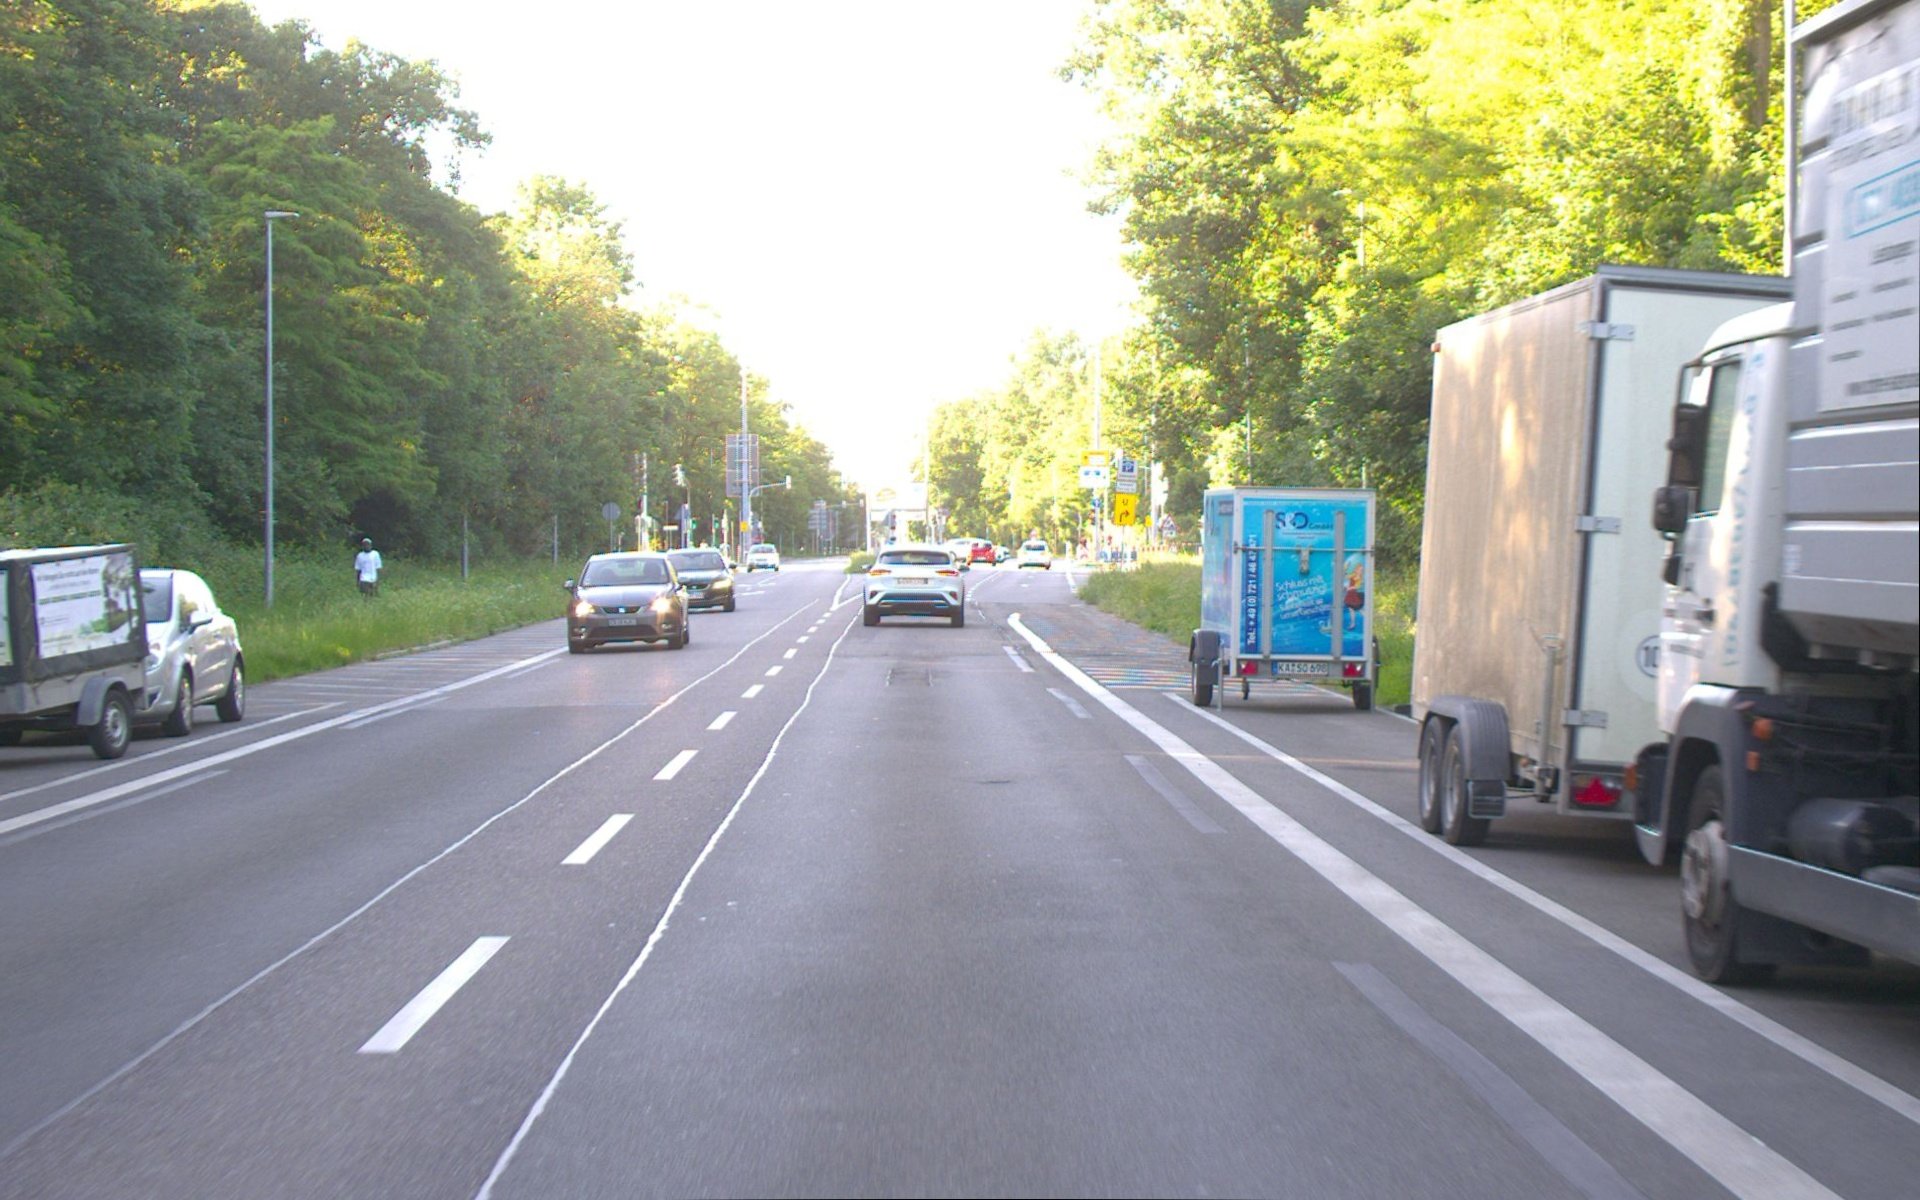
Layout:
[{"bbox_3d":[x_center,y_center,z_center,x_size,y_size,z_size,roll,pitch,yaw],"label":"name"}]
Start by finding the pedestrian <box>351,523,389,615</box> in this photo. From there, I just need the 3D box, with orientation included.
[{"bbox_3d":[-13.025,-0.693,75.920,0.693,2.007,0.712,1,1,0],"label":"pedestrian"}]

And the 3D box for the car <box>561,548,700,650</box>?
[{"bbox_3d":[-4.856,-0.046,51.081,1.678,1.411,4.000,-1,1,0],"label":"car"}]

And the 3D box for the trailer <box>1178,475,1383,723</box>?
[{"bbox_3d":[3.064,-0.052,33.624,1.500,2.228,4.550,1,1,0],"label":"trailer"}]

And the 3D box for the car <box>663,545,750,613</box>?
[{"bbox_3d":[-5.834,-0.515,79.454,1.678,1.485,4.690,-1,1,0],"label":"car"}]

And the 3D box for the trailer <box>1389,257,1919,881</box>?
[{"bbox_3d":[3.776,-0.182,18.381,2.272,2.835,5.207,1,1,0],"label":"trailer"}]

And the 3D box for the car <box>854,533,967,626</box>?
[{"bbox_3d":[-0.917,-0.404,63.098,1.993,1.634,4.000,-1,1,-1],"label":"car"}]

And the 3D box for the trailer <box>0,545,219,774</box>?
[{"bbox_3d":[-7.164,0.425,26.674,1.471,1.654,3.364,-2,0,12],"label":"trailer"}]

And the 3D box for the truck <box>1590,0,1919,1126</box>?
[{"bbox_3d":[3.821,-0.277,10.211,2.505,3.355,7.108,1,1,0],"label":"truck"}]

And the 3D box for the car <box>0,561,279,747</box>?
[{"bbox_3d":[-7.556,0.443,31.188,1.867,1.458,4.133,-3,1,0],"label":"car"}]

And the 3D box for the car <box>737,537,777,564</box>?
[{"bbox_3d":[-11.104,-2.694,188.265,1.993,1.459,4.000,1,1,-1],"label":"car"}]

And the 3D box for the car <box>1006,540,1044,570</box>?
[{"bbox_3d":[3.590,-2.505,190.199,1.993,1.612,4.000,1,1,0],"label":"car"}]
